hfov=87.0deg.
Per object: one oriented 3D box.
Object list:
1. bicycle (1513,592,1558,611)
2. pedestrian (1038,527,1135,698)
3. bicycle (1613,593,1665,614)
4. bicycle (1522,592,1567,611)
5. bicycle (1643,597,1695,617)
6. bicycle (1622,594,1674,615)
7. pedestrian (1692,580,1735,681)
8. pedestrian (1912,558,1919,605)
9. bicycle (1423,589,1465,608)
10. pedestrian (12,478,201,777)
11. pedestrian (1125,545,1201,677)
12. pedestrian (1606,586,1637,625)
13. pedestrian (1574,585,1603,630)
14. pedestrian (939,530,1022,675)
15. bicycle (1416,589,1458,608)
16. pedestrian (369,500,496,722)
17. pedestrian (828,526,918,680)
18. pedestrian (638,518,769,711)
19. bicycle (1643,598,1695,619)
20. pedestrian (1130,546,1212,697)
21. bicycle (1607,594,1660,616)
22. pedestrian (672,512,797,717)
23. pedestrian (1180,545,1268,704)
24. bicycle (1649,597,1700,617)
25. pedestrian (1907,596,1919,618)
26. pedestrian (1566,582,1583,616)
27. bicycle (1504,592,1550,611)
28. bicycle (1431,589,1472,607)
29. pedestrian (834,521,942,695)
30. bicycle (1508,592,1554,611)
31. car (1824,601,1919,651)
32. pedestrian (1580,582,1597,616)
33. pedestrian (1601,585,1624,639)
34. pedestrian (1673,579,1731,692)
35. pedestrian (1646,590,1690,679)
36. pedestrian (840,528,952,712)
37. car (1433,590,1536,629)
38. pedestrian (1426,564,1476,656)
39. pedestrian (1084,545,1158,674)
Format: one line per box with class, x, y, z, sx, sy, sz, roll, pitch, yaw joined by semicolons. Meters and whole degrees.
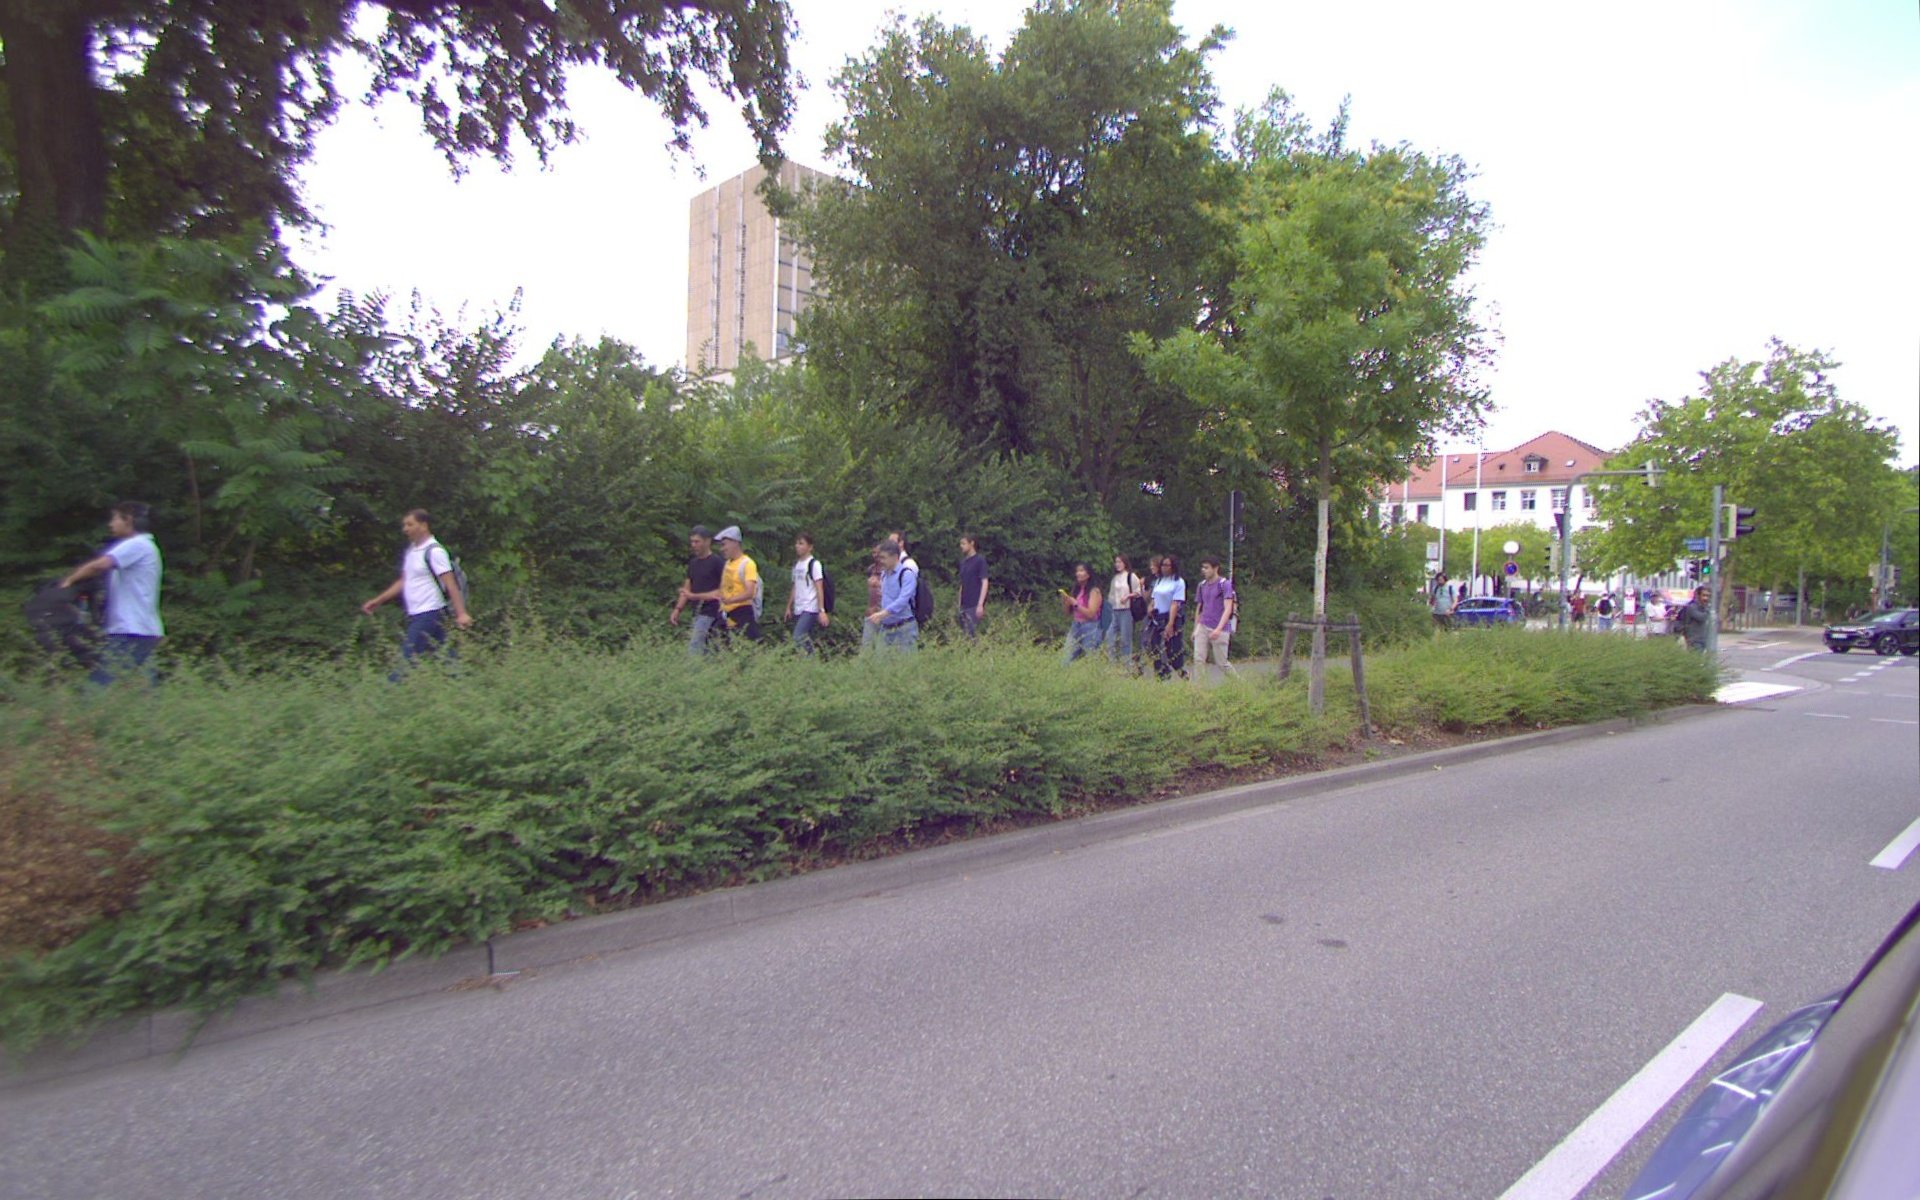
bicycle;37.457;0.065;65.900;0.705;1.156;2.470;1;1;-41
pedestrian;1.371;0.119;10.991;0.767;1.767;0.658;1;1;-42
bicycle;40.399;0.226;60.211;0.705;1.156;2.470;1;1;-41
bicycle;38.646;0.102;66.981;0.705;1.156;2.470;1;1;-41
bicycle;43.446;0.405;62.025;0.705;1.156;2.470;1;1;-41
bicycle;41.543;0.256;61.106;0.705;1.156;2.470;1;1;-41
pedestrian;13.484;0.534;18.106;0.626;1.756;0.455;1;1;-42
pedestrian;38.223;-0.732;40.114;0.669;1.839;0.574;1;1;-40
bicycle;32.816;-0.107;68.656;0.705;1.156;2.470;1;1;-41
pedestrian;-5.055;0.136;6.032;0.798;1.622;0.777;1;1;-40
pedestrian;2.800;0.135;13.980;0.767;1.767;0.658;1;1;-42
pedestrian;30.054;0.244;46.000;0.687;1.730;0.956;1;0;-24
pedestrian;25.889;0.283;41.688;0.875;1.827;0.769;1;0;-38
pedestrian;0.257;0.015;12.815;0.767;1.767;0.658;1;1;-42
bicycle;31.949;-0.102;67.860;0.705;1.156;2.470;1;1;-41
pedestrian;-4.483;0.075;8.596;0.798;1.766;0.723;1;1;-40
pedestrian;-1.014;0.019;11.790;0.767;1.720;0.658;1;1;-42
pedestrian;-2.375;0.115;9.387;0.954;1.687;0.658;1;1;-42
bicycle;42.834;0.495;61.157;0.705;1.156;2.470;1;1;-41
pedestrian;2.576;0.240;12.348;0.776;1.767;0.582;1;1;-42
bicycle;39.369;0.273;59.158;0.705;1.156;2.470;1;1;-41
pedestrian;-1.996;0.106;8.961;0.827;1.710;0.658;1;1;-42
pedestrian;3.056;0.259;11.716;0.767;1.767;0.625;1;1;-42
bicycle;44.113;0.402;62.525;0.705;1.156;2.470;1;1;-41
pedestrian;87.491;0.606;92.838;0.747;1.957;0.797;1;1;-44
pedestrian;37.154;-0.066;61.154;0.674;1.988;0.601;0;0;8
bicycle;36.275;0.074;64.820;0.705;1.156;2.470;1;1;-41
bicycle;33.765;-0.112;69.545;0.705;1.156;2.470;1;1;-41
pedestrian;-0.777;0.077;10.986;0.941;1.788;0.657;1;0;-42
bicycle;36.880;0.108;65.370;0.705;1.156;2.470;1;1;-41
car;30.757;0.823;32.586;4.108;1.576;1.800;0;0;10
pedestrian;37.979;-0.062;61.122;0.674;1.988;0.601;0;0;8
pedestrian;23.058;0.396;35.769;0.643;1.875;0.818;1;0;36
pedestrian;11.896;0.547;16.225;0.643;1.756;0.602;1;1;-42
pedestrian;13.987;0.664;20.004;0.626;1.708;0.546;1;1;-42
pedestrian;-0.609;0.168;9.678;0.798;1.668;0.658;1;1;-42
car;22.293;0.357;43.083;1.646;1.510;3.576;-1;2;-43
pedestrian;9.919;0.187;20.458;0.727;1.817;0.646;1;1;-42
pedestrian;2.293;0.116;14.398;0.767;1.767;0.658;1;1;-42
